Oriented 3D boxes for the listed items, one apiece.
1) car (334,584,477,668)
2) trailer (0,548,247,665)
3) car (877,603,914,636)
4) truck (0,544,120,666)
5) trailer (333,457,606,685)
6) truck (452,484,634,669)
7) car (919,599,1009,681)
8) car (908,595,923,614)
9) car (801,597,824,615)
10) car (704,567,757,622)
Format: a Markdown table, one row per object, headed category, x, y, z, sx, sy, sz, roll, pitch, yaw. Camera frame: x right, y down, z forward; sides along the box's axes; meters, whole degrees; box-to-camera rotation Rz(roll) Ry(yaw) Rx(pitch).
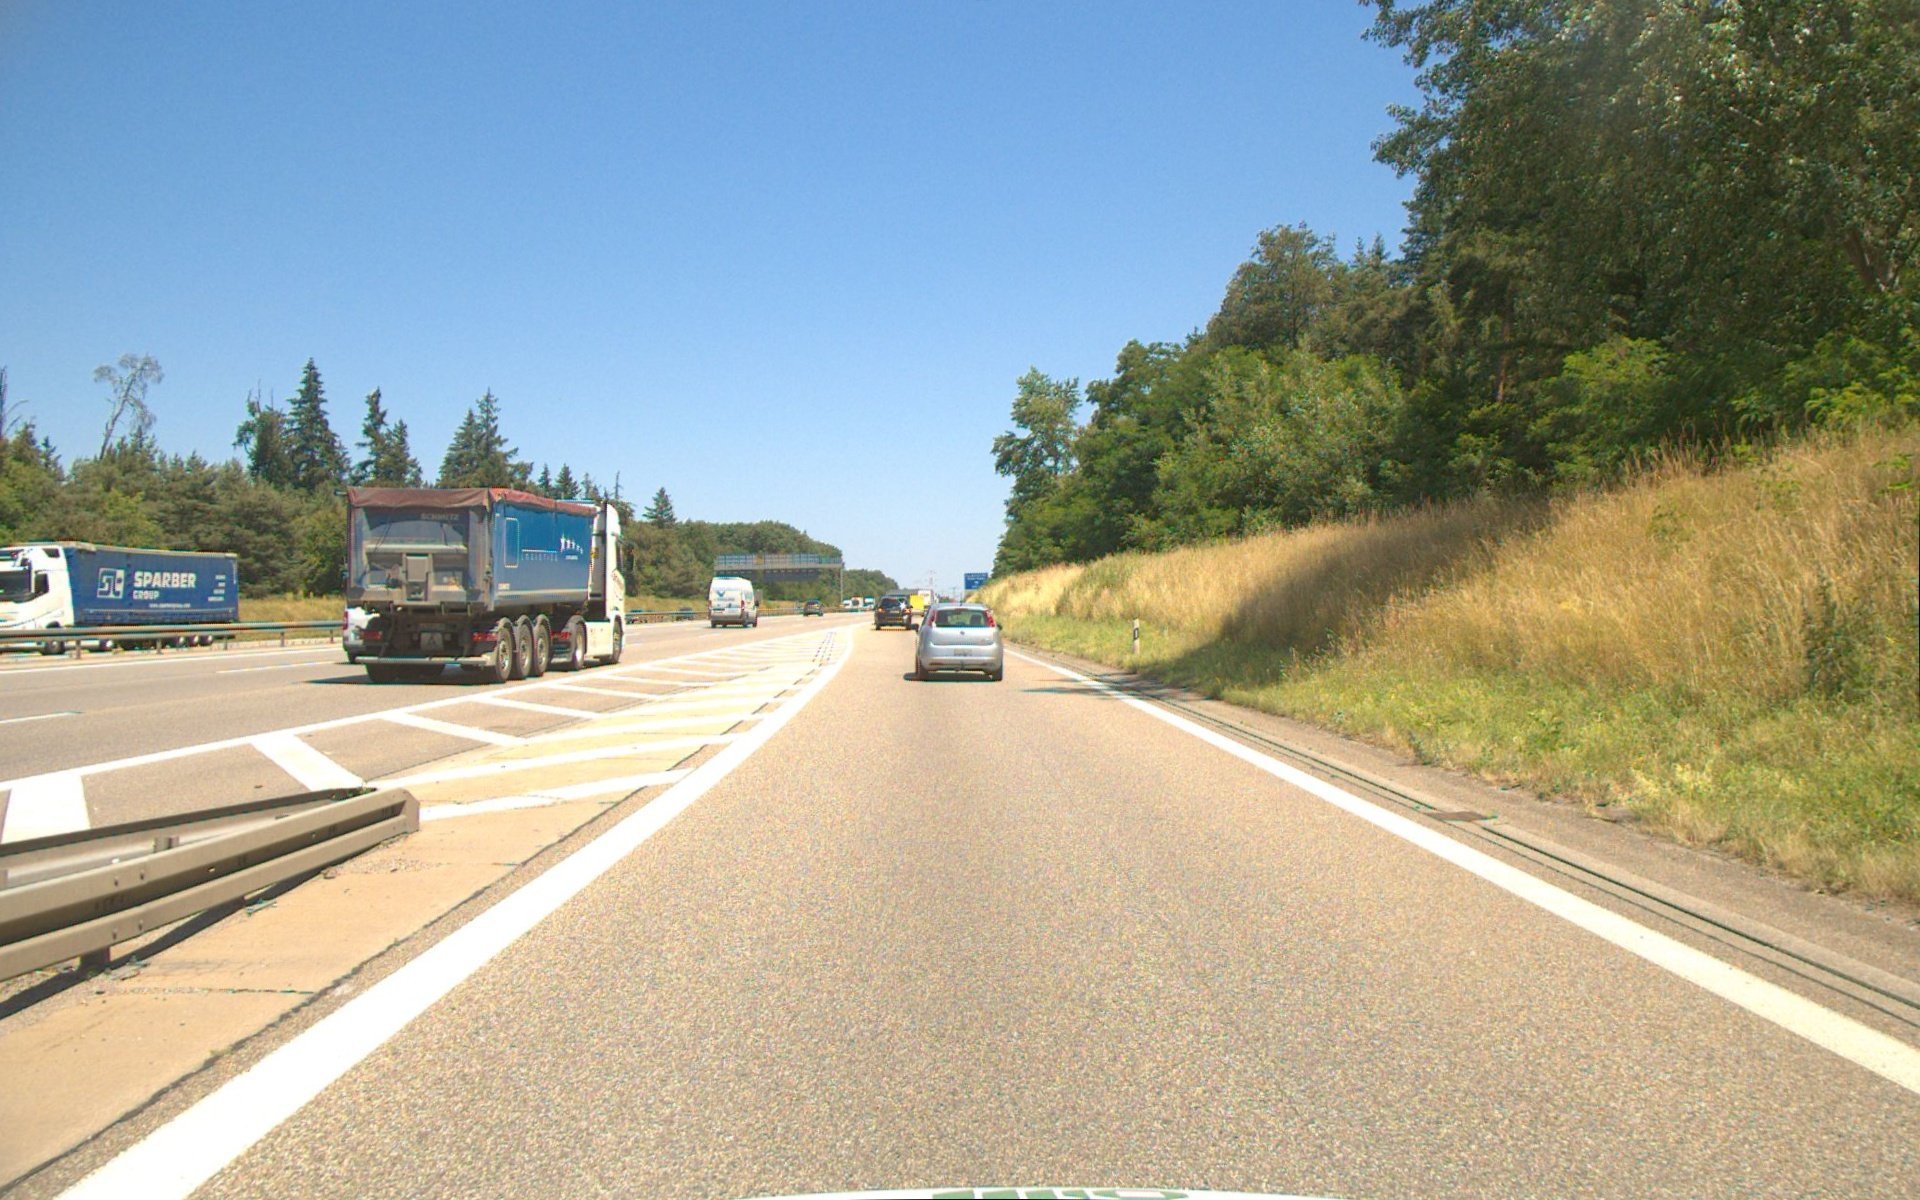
| category | x | y | z | sx | sy | sz | roll | pitch | yaw |
| --- | --- | --- | --- | --- | --- | --- | --- | --- | --- |
| car | -13.198 | 0.569 | 39.661 | 1.794 | 1.866 | 4.717 | -1 | 0 | 0 |
| trailer | -34.136 | 0.258 | 68.460 | 3.137 | 4.245 | 13.982 | -2 | 0 | 0 |
| car | -3.407 | 1.048 | 88.454 | 1.794 | 1.701 | 4.000 | 1 | -1 | 0 |
| truck | -34.109 | 0.225 | 61.156 | 3.137 | 4.245 | 5.722 | -2 | 0 | -1 |
| trailer | -9.222 | -0.503 | 32.369 | 2.681 | 3.824 | 9.108 | 0 | 0 | -1 |
| truck | -9.255 | -0.498 | 37.380 | 2.629 | 3.824 | 5.943 | 0 | 0 | -1 |
| car | 0.029 | 0.754 | 33.019 | 1.684 | 1.518 | 3.736 | 0 | 0 | -2 |
| car | -4.826 | 0.500 | 178.538 | 1.579 | 2.049 | 3.999 | 1 | 0 | -1 |
| car | -15.793 | 0.632 | 176.977 | 2.113 | 1.846 | 4.858 | 0 | 0 | -2 |
| car | -13.037 | -0.293 | 94.319 | 2.214 | 3.002 | 6.113 | 1 | 0 | 0 |
